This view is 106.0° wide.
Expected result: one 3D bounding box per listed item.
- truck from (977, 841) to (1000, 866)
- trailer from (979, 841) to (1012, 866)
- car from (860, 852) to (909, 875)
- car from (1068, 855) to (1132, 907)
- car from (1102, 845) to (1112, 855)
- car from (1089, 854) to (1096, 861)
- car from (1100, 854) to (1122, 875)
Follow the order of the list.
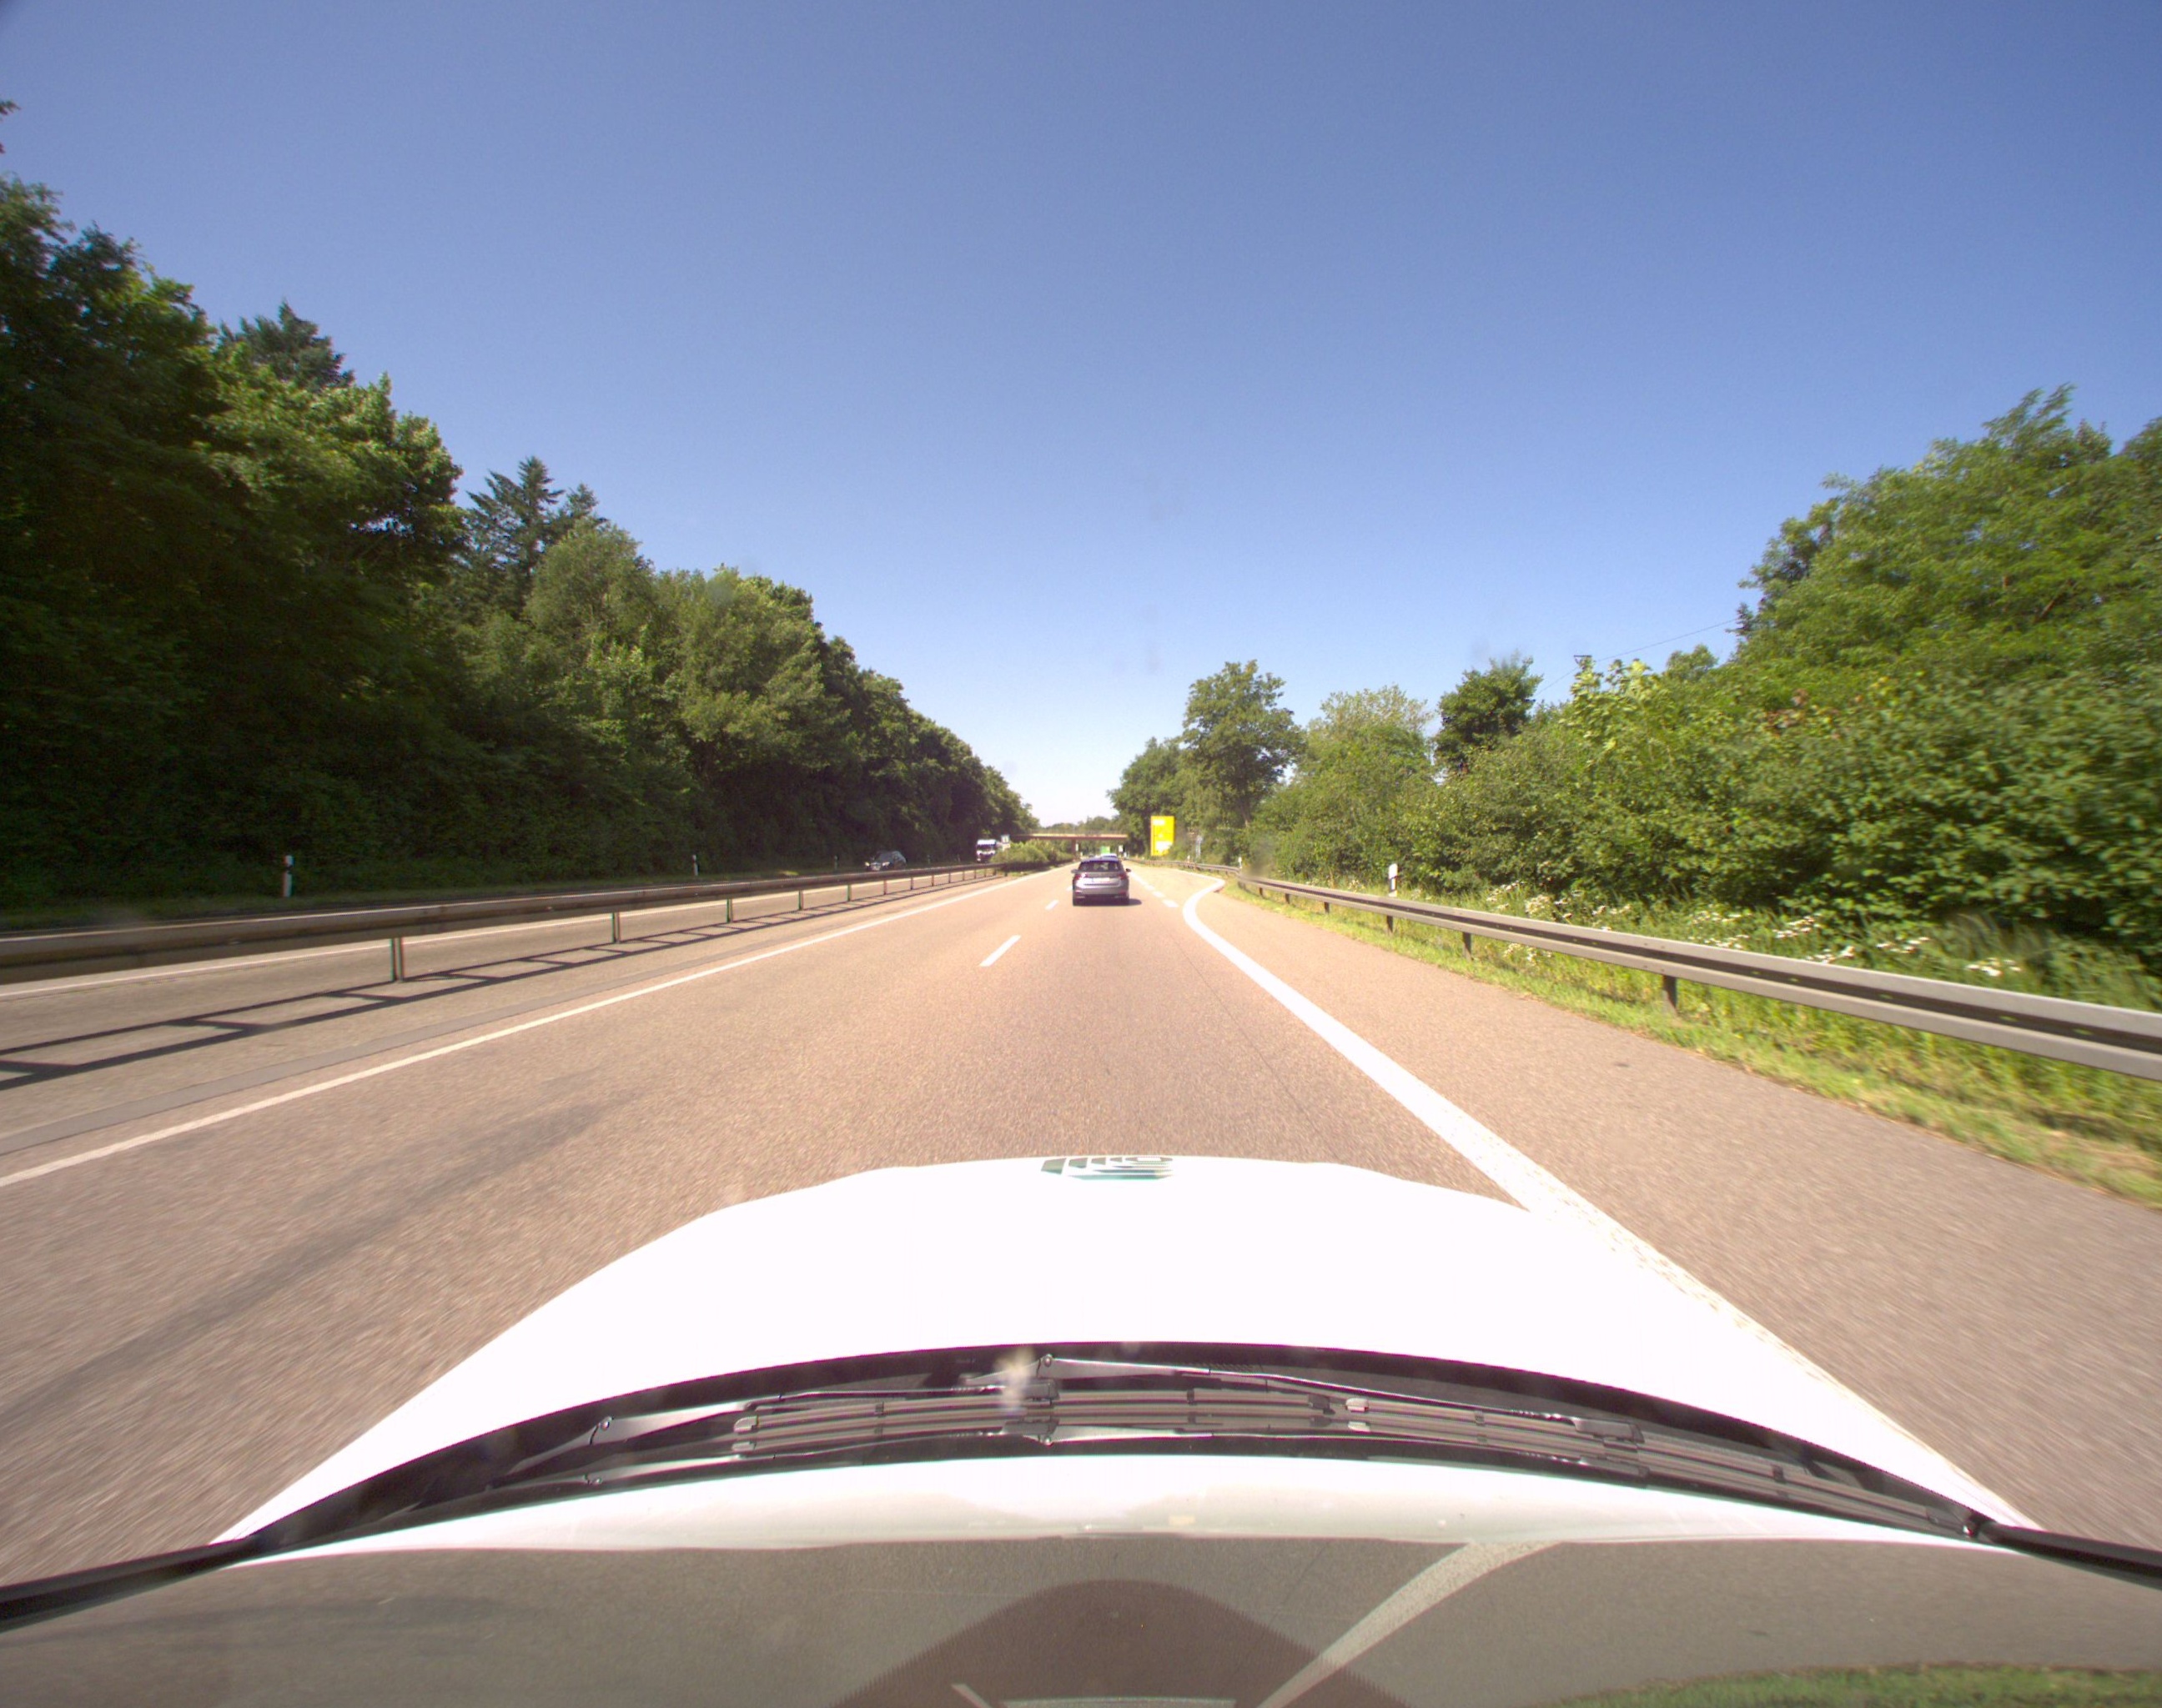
[{"bbox_3d":[-12.261,-0.083,107.911,2.416,3.258,4.002,0,0,2],"label":"truck"},{"bbox_3d":[-11.939,-0.025,115.018,2.483,3.235,14.438,0,0,2],"label":"trailer"},{"bbox_3d":[-13.039,0.614,54.254,1.834,1.510,4.556,0,0,4],"label":"car"},{"bbox_3d":[0.670,0.784,25.317,1.832,1.472,3.627,0,0,3],"label":"car"},{"bbox_3d":[7.724,-1.173,241.315,2.738,2.654,4.002,0,0,2],"label":"car"},{"bbox_3d":[3.264,1.086,232.665,1.986,2.014,4.002,0,0,2],"label":"car"},{"bbox_3d":[2.173,0.707,58.301,1.516,1.446,3.343,0,0,3],"label":"car"}]
